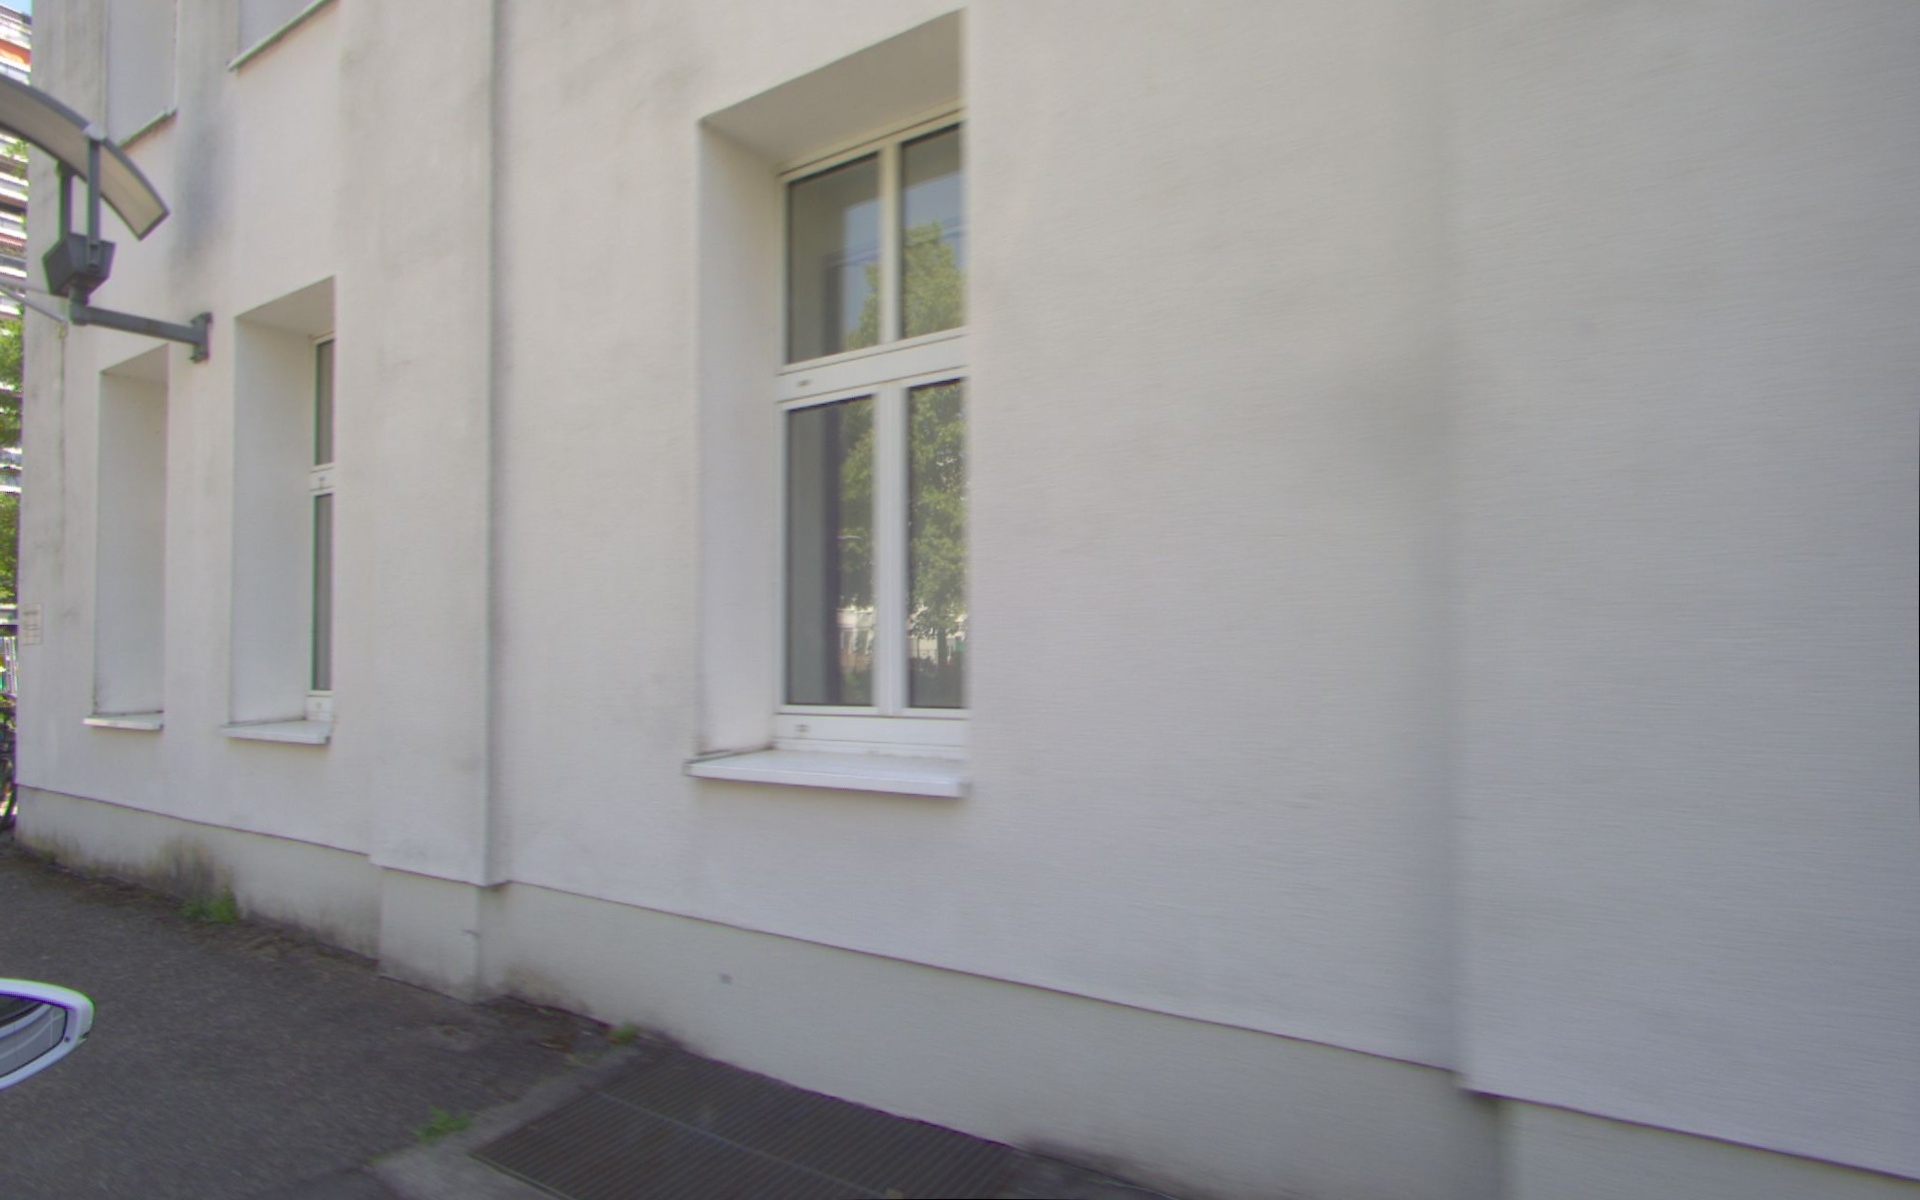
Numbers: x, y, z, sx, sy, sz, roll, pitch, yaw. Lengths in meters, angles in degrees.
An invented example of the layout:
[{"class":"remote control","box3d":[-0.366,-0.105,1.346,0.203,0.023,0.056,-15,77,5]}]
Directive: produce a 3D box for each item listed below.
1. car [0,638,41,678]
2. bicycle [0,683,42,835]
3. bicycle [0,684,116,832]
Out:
[{"class":"car","box3d":[-56.449,3.459,59.390,2.164,2.286,4.839,1,-4,-35]},{"class":"bicycle","box3d":[-7.855,1.224,7.946,1.801,1.115,0.404,-3,-3,33]},{"class":"bicycle","box3d":[-7.645,1.268,8.367,1.801,1.115,0.404,-3,-3,33]}]
